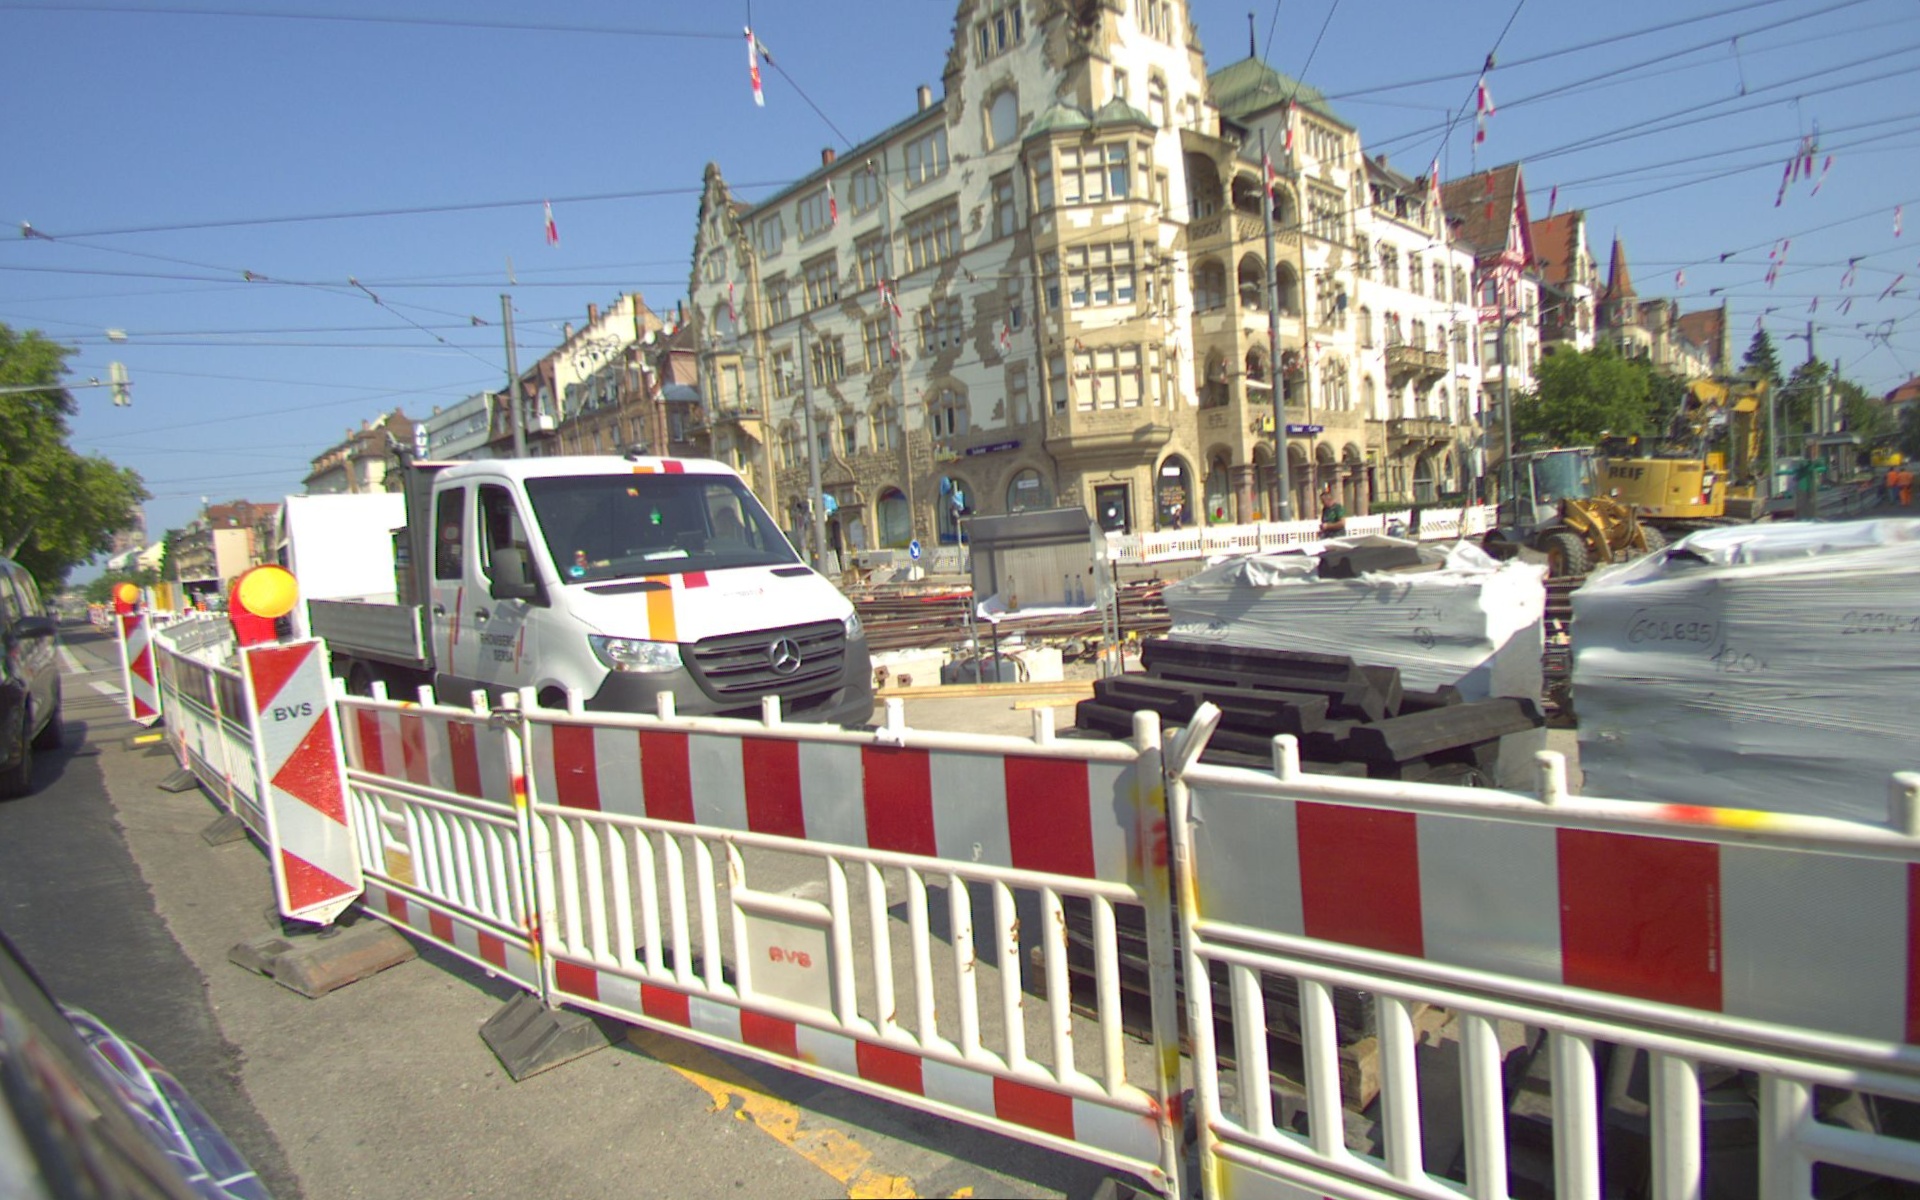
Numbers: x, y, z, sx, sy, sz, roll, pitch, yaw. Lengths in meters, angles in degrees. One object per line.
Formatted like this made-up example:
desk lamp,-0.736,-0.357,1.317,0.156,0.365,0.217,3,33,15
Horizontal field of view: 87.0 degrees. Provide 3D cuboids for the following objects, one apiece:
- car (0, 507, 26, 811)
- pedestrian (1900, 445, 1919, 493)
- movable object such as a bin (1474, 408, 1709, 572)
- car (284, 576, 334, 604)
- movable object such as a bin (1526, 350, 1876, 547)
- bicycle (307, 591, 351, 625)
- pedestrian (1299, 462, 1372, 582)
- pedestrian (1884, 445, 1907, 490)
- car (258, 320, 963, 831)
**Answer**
car,-7.843,0.387,7.052,1.826,1.900,4.183,-4,3,-42
pedestrian,41.752,-5.746,44.360,0.668,2.027,0.639,-7,4,-32
movable object such as a bin,13.022,-2.227,21.328,2.422,2.854,4.804,-4,4,9
car,-57.972,-0.855,90.083,2.334,2.150,7.129,-8,5,-43
movable object such as a bin,19.656,-3.891,26.880,7.258,4.377,4.985,-7,5,-30
bicycle,-22.511,0.299,36.098,1.965,1.106,0.557,-1,6,38
pedestrian,6.319,-1.304,17.049,0.711,1.926,0.791,-6,4,-20
pedestrian,43.368,-6.137,46.913,0.636,2.027,0.671,-2,5,35
car,-3.386,-0.174,8.125,7.202,2.441,2.184,-1,5,44
